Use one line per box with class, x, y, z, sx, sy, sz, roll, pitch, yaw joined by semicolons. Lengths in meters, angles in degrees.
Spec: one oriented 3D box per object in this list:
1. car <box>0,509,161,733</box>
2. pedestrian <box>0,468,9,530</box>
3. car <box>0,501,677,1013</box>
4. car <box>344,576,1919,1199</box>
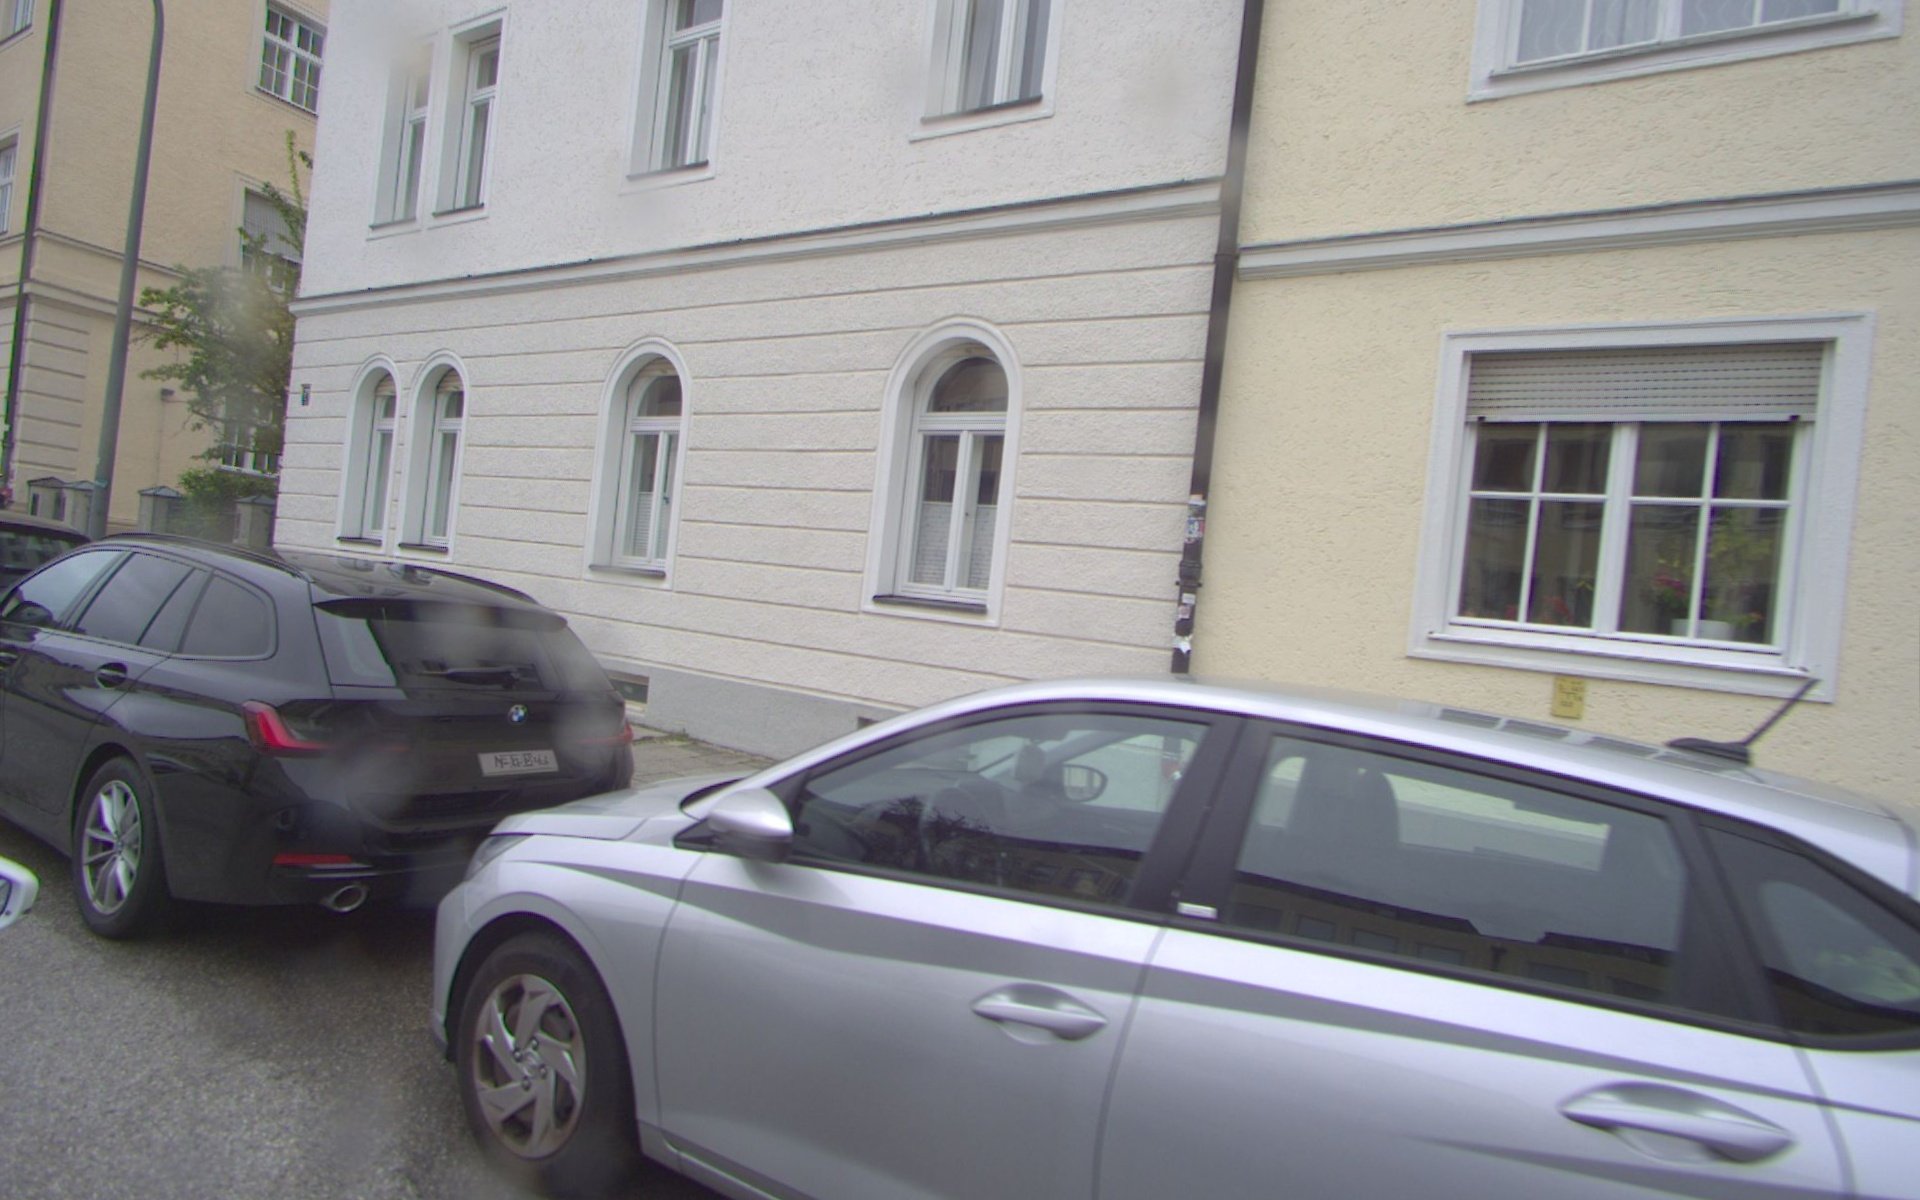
car;-7.875;-0.033;7.555;3.761;1.449;1.594;7;-2;31
pedestrian;-16.599;-1.414;16.838;0.678;1.711;0.668;6;-2;32
car;-3.584;0.397;4.861;4.347;1.449;1.594;7;-2;31
car;0.423;0.895;2.579;3.879;1.449;1.696;6;-2;31
